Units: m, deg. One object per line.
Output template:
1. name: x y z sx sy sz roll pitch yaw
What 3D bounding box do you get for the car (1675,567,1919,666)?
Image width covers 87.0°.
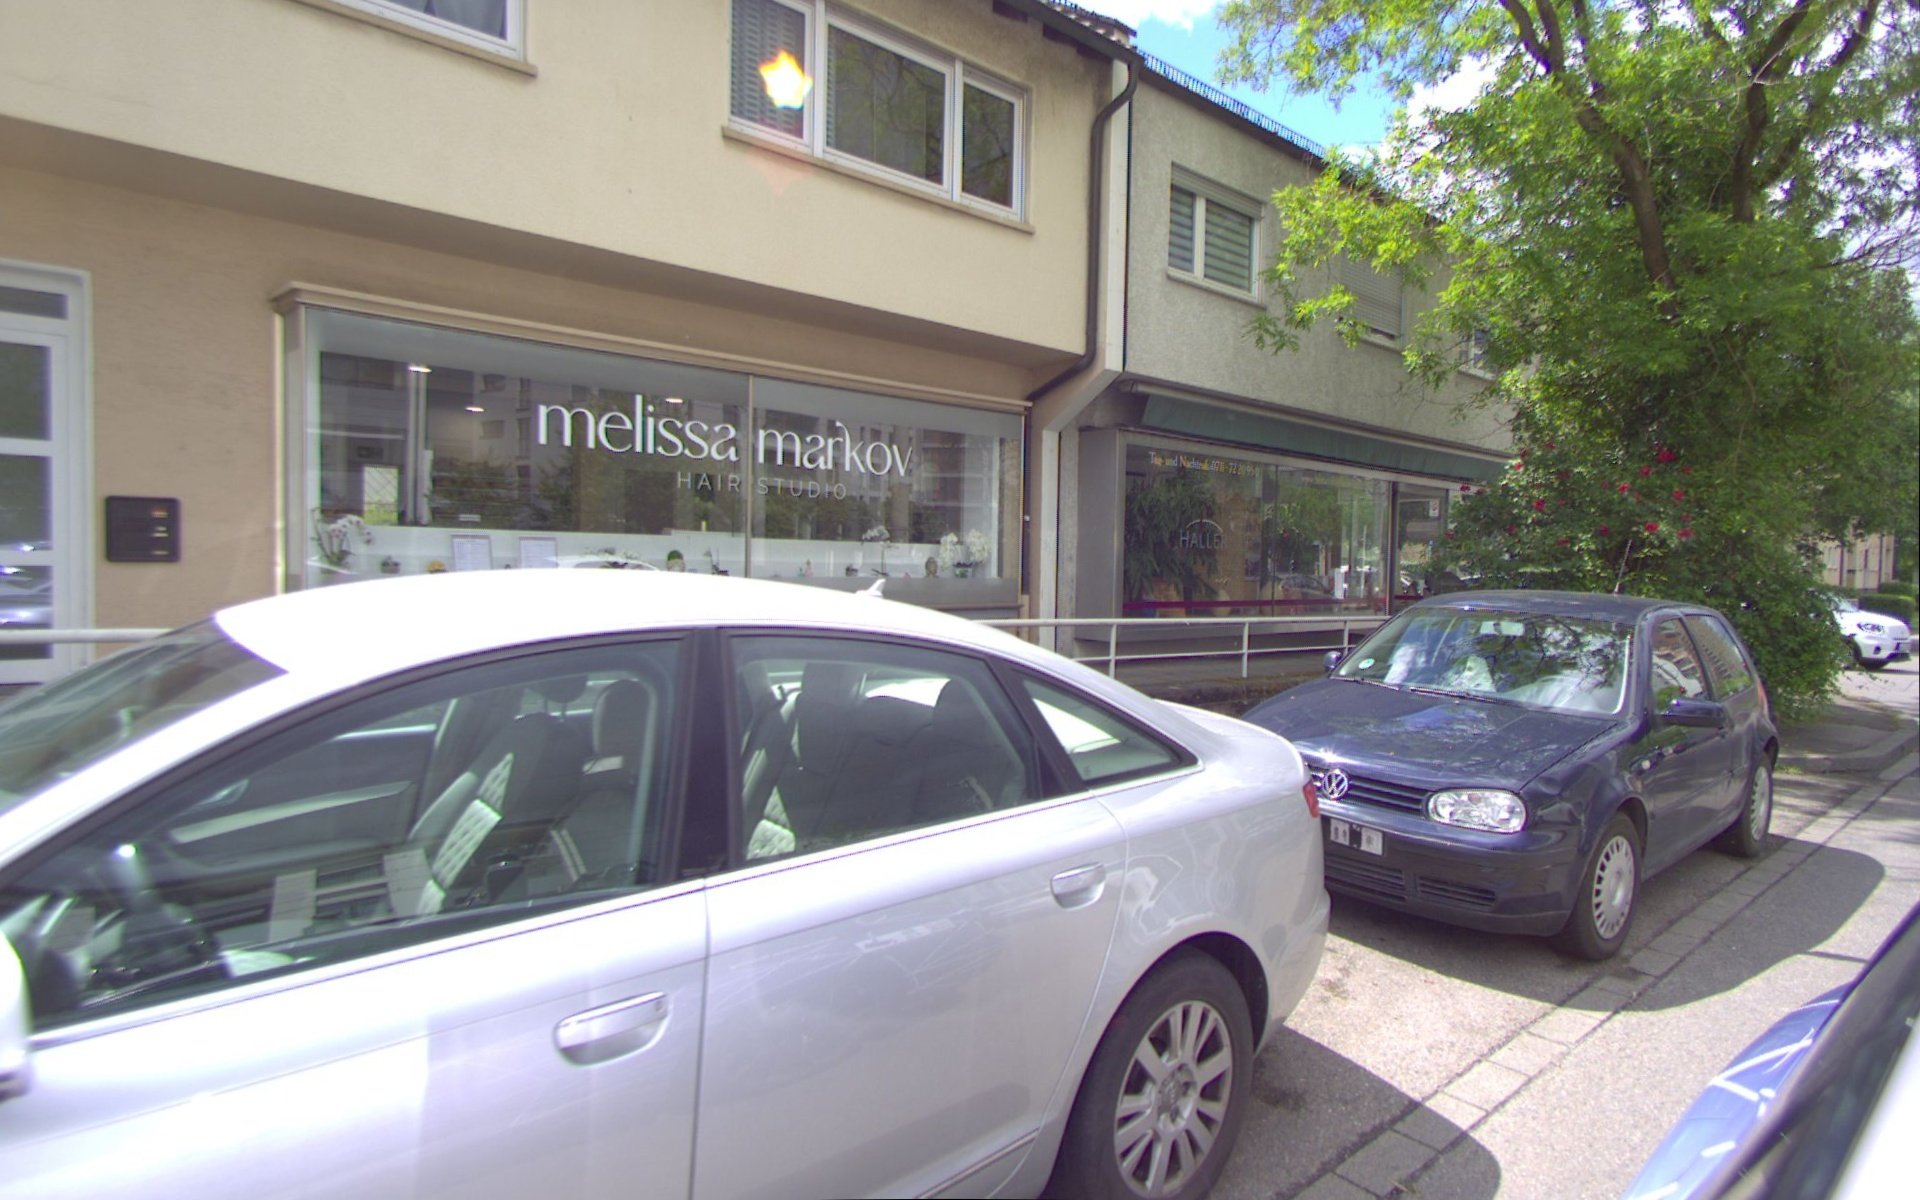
1. car: 16.430 0.234 19.669 1.804 1.590 3.656 0 4 -28

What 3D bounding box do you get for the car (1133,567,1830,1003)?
1. car: 2.955 0.600 5.403 3.967 1.481 1.819 0 2 -38

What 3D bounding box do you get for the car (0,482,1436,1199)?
1. car: -1.135 0.612 2.039 4.821 1.517 1.819 0 2 -38
